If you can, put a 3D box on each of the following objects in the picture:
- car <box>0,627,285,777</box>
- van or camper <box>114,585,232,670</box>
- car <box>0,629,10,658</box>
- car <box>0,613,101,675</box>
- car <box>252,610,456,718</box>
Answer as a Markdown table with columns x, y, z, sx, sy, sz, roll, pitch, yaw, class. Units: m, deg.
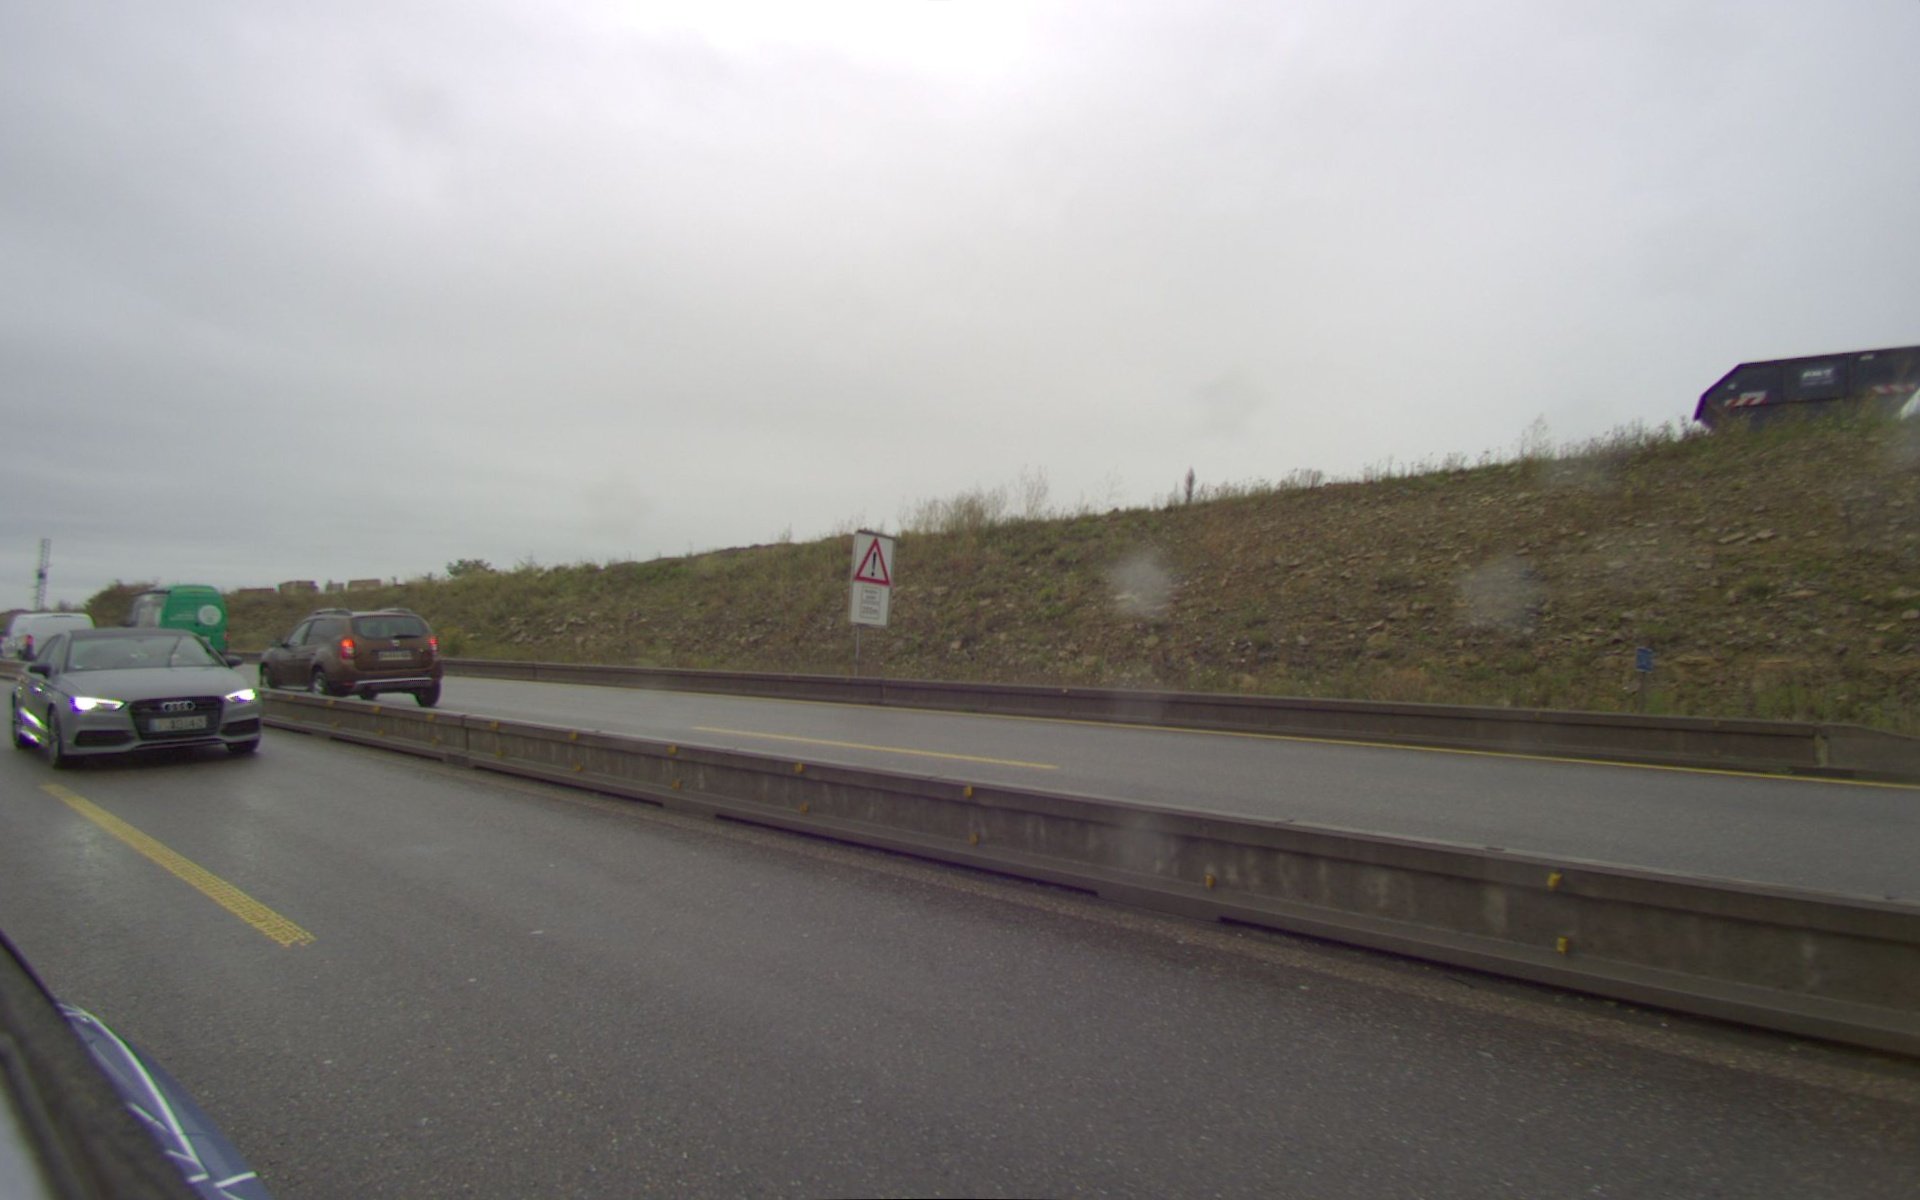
| x | y | z | sx | sy | sz | roll | pitch | yaw | class |
| --- | --- | --- | --- | --- | --- | --- | --- | --- | --- |
| -9.483 | 1.025 | 11.582 | 4.083 | 1.393 | 1.783 | -1 | -1 | 39 | car |
| -28.360 | 0.964 | 36.381 | 5.937 | 2.839 | 2.079 | -2 | 0 | 40 | van or camper |
| -51.887 | 2.321 | 53.720 | 4.043 | 1.548 | 1.696 | -2 | 0 | 40 | car |
| -31.002 | 1.439 | 34.335 | 5.270 | 1.901 | 1.980 | -2 | 0 | 40 | car |
| -10.445 | 1.024 | 17.345 | 3.996 | 1.609 | 1.743 | -2 | 0 | 39 | car |
